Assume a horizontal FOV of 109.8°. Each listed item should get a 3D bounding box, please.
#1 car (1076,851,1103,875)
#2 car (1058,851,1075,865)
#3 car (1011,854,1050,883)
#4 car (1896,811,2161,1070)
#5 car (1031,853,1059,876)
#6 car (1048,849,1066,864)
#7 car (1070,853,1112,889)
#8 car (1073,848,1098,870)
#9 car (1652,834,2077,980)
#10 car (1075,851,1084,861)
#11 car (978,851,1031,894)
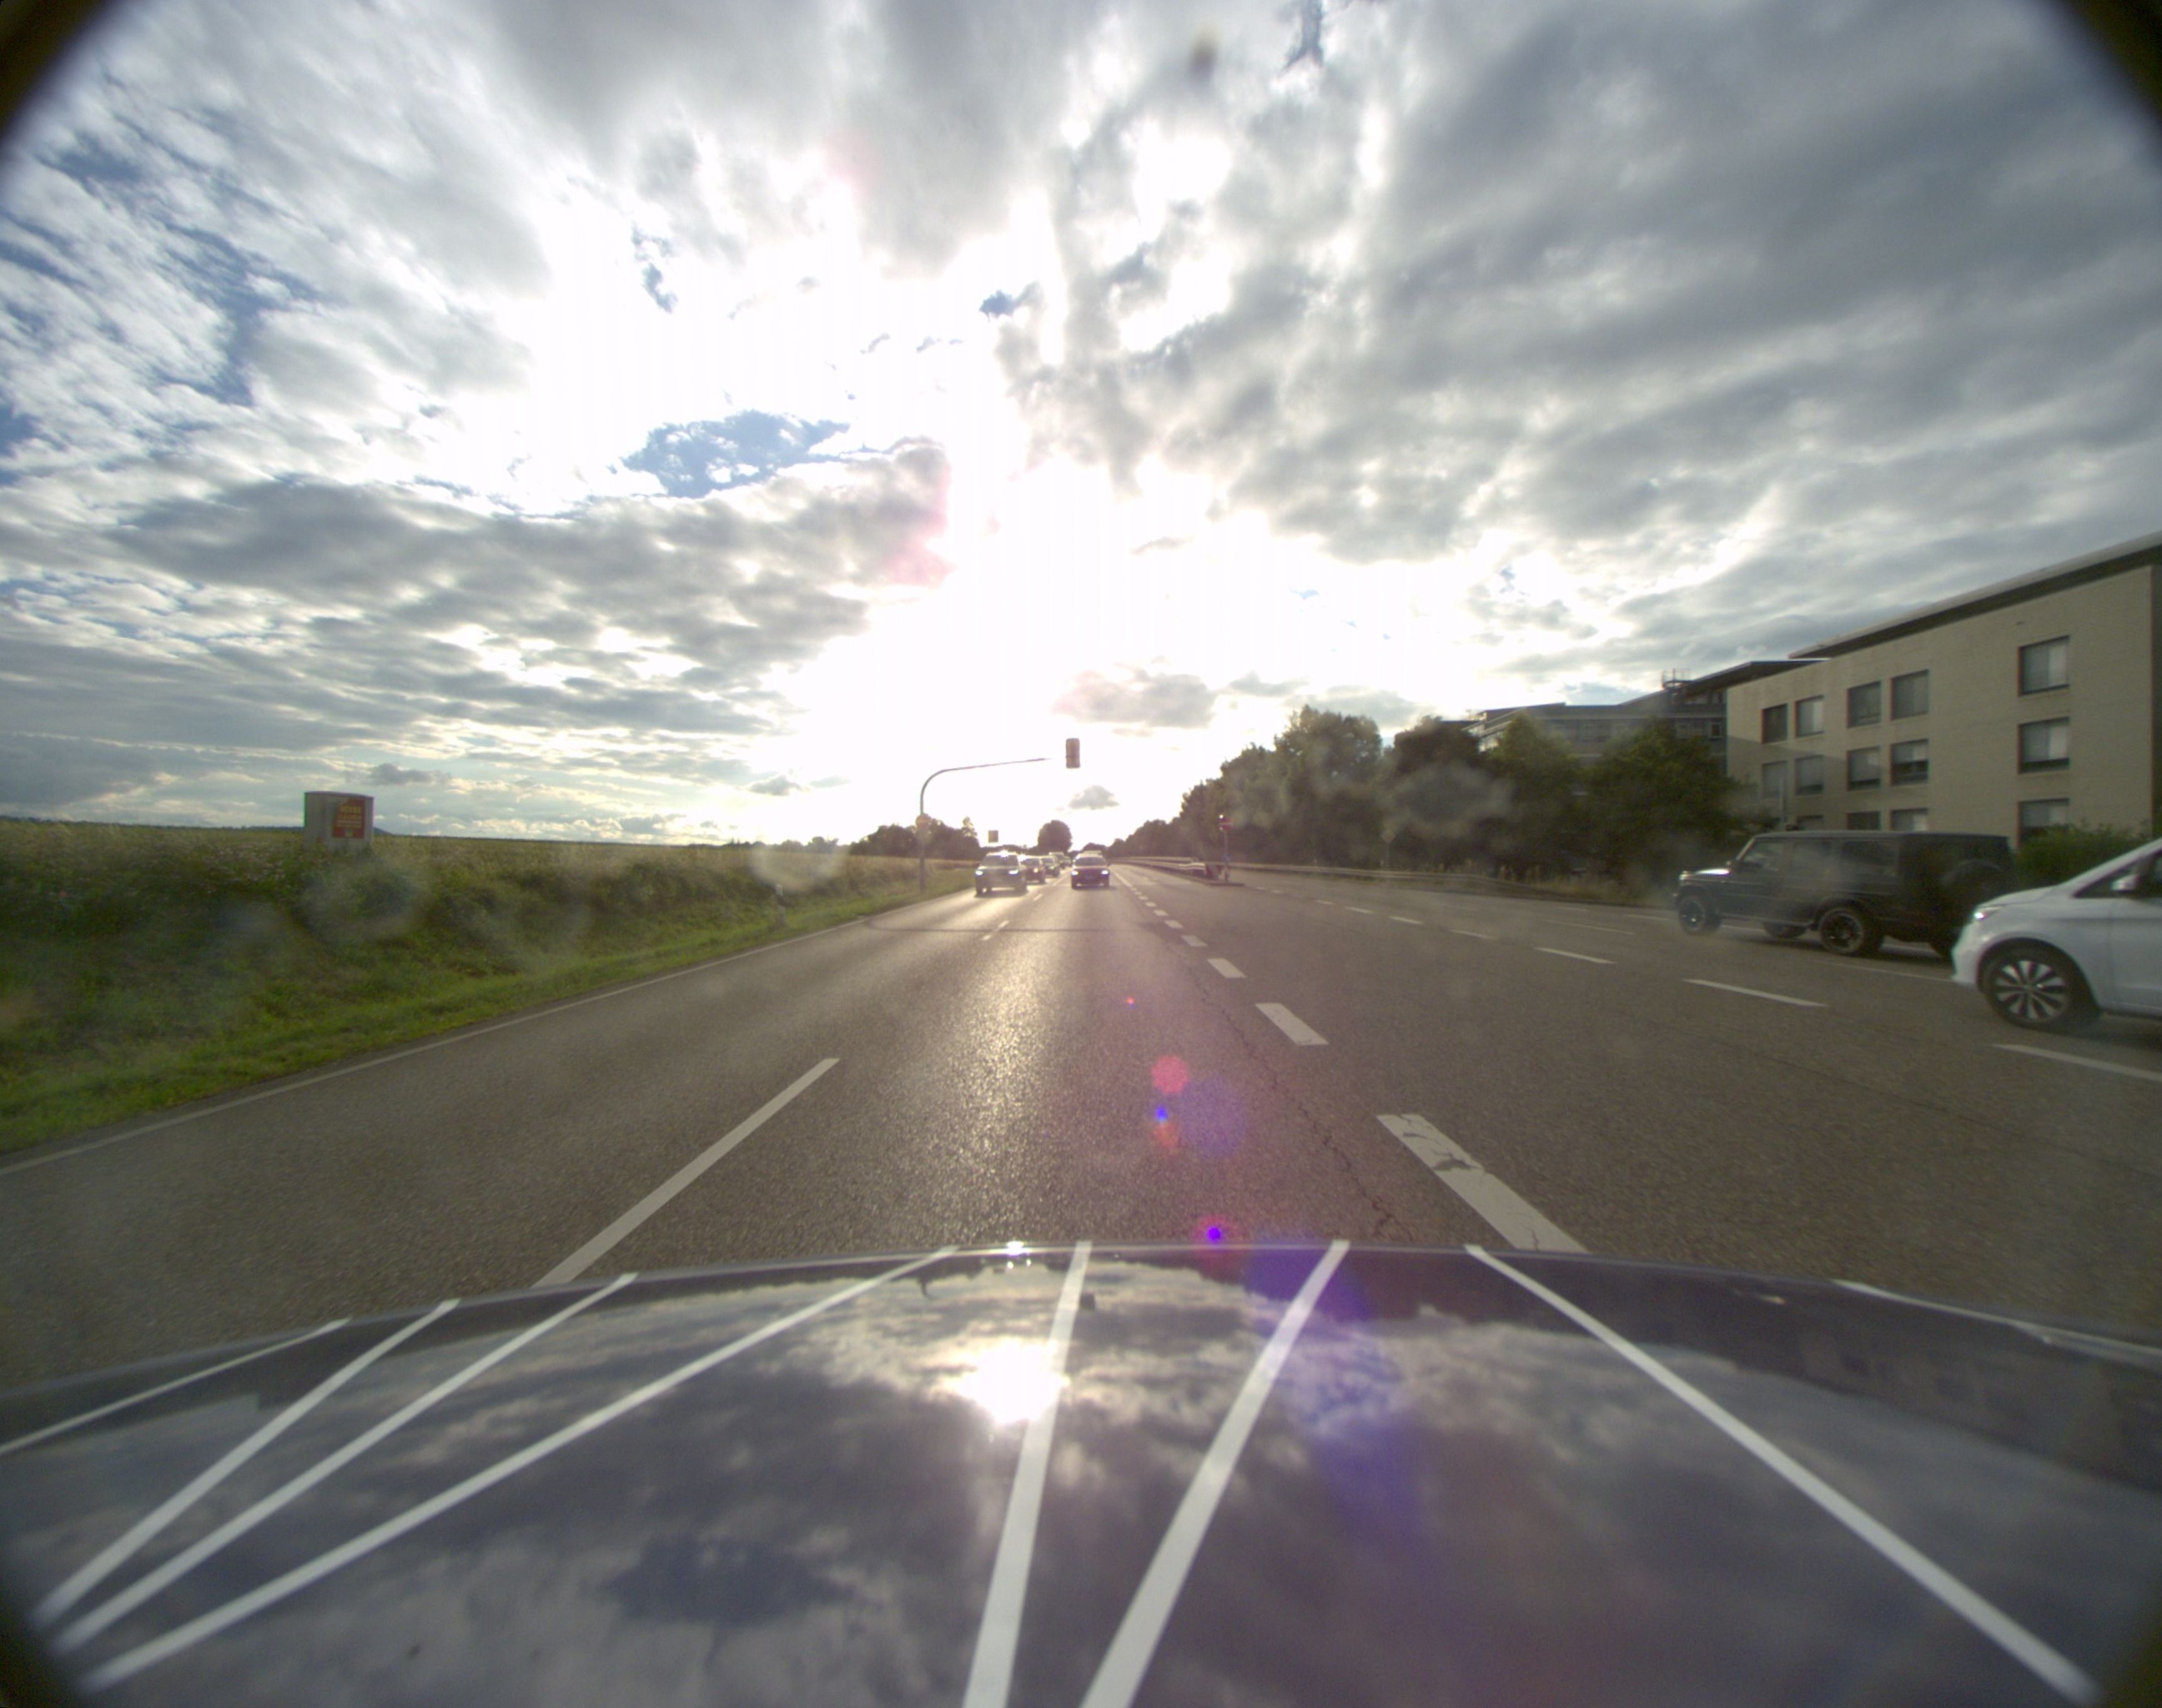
[{"bbox_3d":[0.572,0.582,50.965,1.758,1.543,4.000,0,1,0],"label":"car"},{"bbox_3d":[-1.968,0.507,102.733,1.998,1.740,3.999,3,1,1],"label":"car"},{"bbox_3d":[-2.718,0.772,41.706,1.668,1.467,3.866,-2,0,2],"label":"car"},{"bbox_3d":[8.745,0.644,4.554,1.939,1.861,5.346,1,1,0],"label":"car"},{"bbox_3d":[-2.502,0.716,53.720,1.723,1.467,3.865,-2,0,1],"label":"car"},{"bbox_3d":[-2.693,0.317,87.308,1.949,1.652,3.999,-1,0,0],"label":"car"},{"bbox_3d":[0.505,0.729,33.875,1.723,1.467,3.728,-2,0,2],"label":"car"},{"bbox_3d":[0.381,0.398,60.260,1.786,1.624,3.866,-2,0,2],"label":"car"},{"bbox_3d":[12.620,0.701,12.938,1.939,1.978,5.090,1,1,0],"label":"car"},{"bbox_3d":[-0.377,0.433,172.294,1.999,2.002,3.999,-2,1,0],"label":"car"},{"bbox_3d":[-3.209,0.751,32.535,1.723,1.658,4.419,-2,0,1],"label":"car"}]
